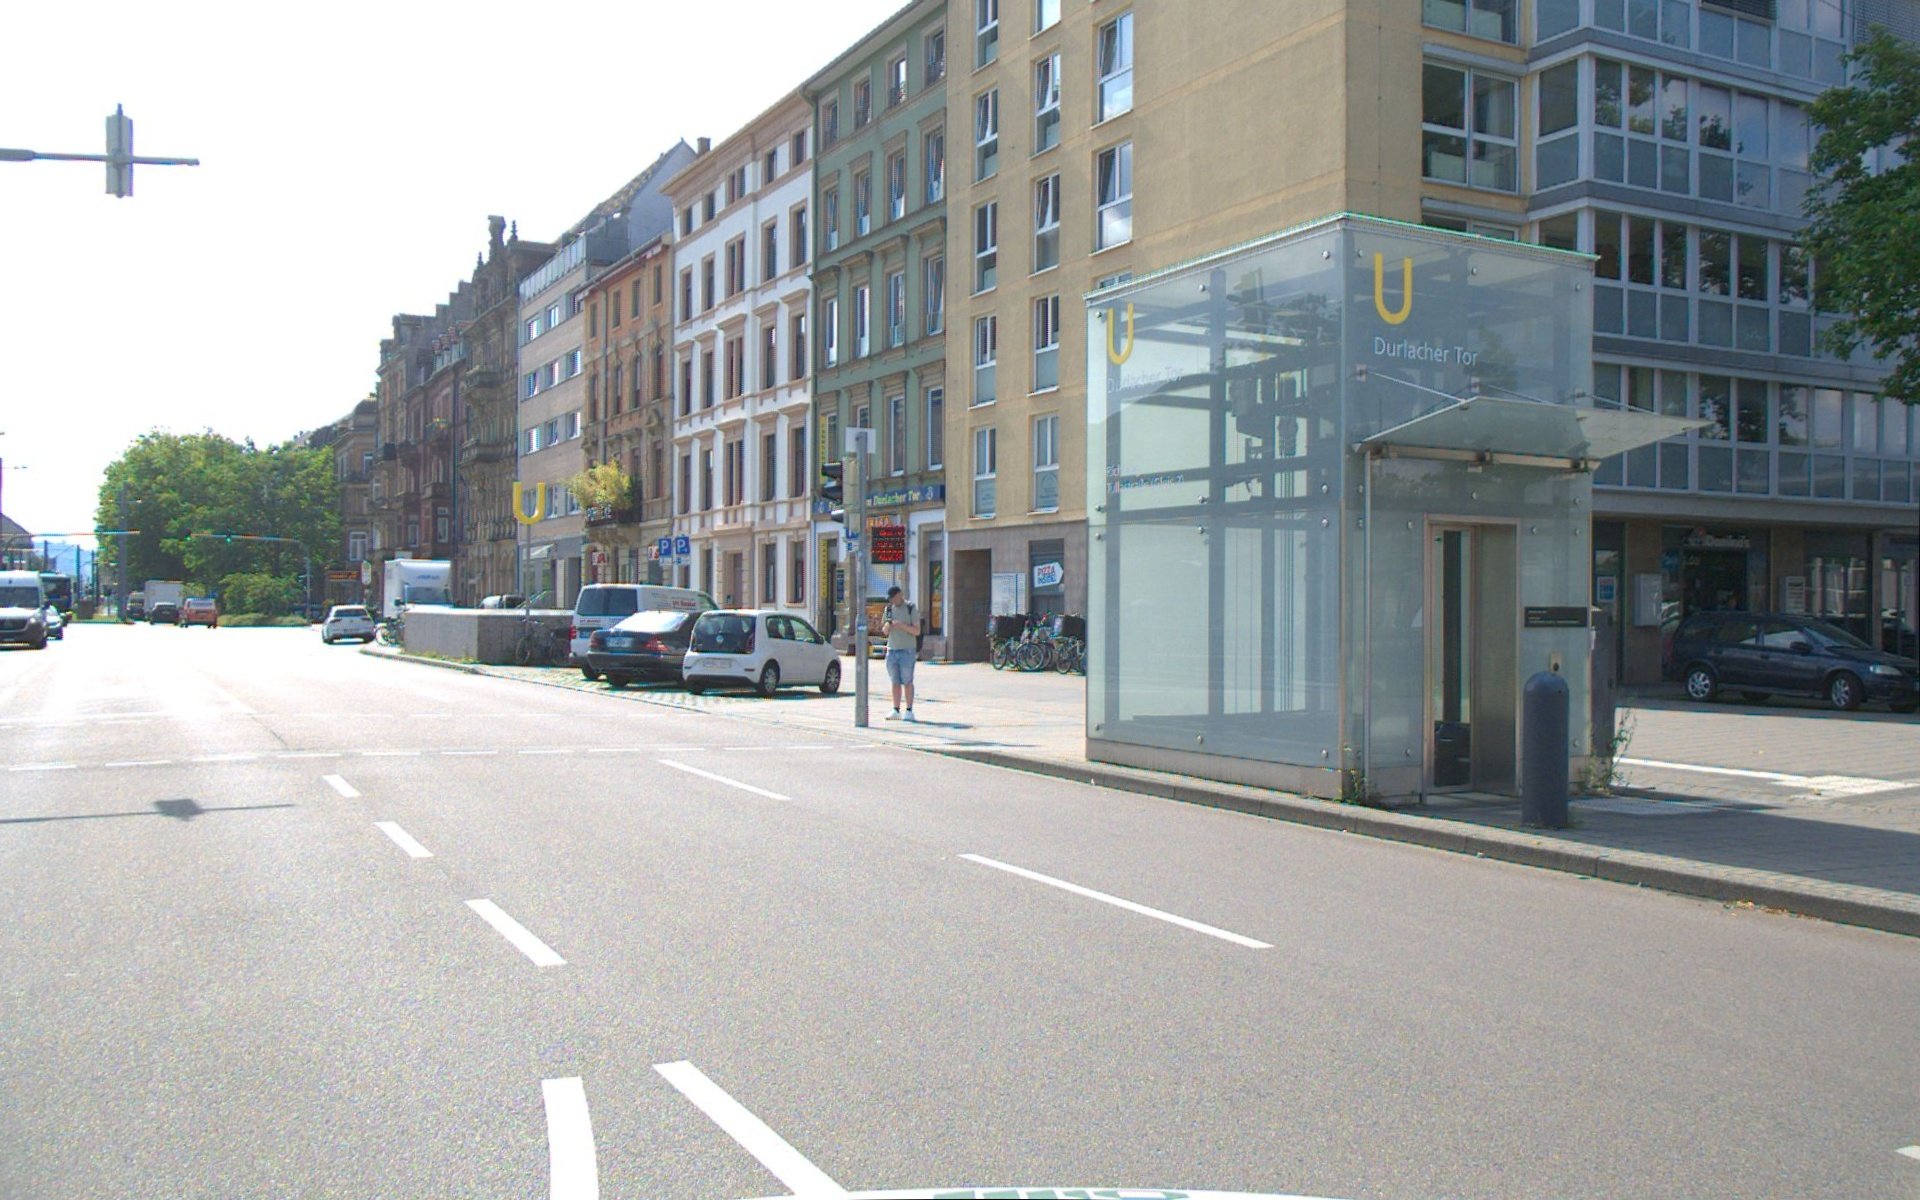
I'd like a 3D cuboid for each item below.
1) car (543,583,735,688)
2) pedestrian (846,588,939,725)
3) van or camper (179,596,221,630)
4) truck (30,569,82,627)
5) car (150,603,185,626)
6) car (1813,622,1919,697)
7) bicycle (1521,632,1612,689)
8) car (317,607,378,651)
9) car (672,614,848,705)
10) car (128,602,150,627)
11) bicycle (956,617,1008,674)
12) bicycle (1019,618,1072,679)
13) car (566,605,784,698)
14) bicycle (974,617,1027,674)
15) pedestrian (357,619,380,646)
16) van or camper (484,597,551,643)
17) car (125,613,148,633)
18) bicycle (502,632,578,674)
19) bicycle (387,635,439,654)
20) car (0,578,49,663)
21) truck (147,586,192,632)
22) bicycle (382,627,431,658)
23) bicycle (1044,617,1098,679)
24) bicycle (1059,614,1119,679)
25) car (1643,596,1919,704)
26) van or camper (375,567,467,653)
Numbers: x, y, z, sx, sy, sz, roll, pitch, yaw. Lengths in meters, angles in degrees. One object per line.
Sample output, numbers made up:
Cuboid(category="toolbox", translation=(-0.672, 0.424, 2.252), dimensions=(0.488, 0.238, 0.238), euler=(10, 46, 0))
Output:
Cuboid(category="car", translation=(-6.861, 0.711, 35.974), dimensions=(2.029, 2.121, 4.902), euler=(0, 0, 17))
Cuboid(category="pedestrian", translation=(-0.903, 0.753, 22.259), dimensions=(0.771, 1.790, 0.991), euler=(-3, -2, 38))
Cuboid(category="van or camper", translation=(-48.758, 0.857, 106.077), dimensions=(1.989, 1.948, 4.474), euler=(1, -3, -31))
Cuboid(category="truck", translation=(-60.162, -0.112, 109.994), dimensions=(2.441, 3.712, 7.362), euler=(0, 0, -34))
Cuboid(category="car", translation=(-55.085, 0.992, 114.940), dimensions=(1.972, 1.534, 3.961), euler=(0, 0, -29))
Cuboid(category="car", translation=(18.028, 1.095, 30.451), dimensions=(1.563, 1.350, 3.962), euler=(1, -3, -28))
Cuboid(category="bicycle", translation=(11.373, 1.129, 31.001), dimensions=(1.757, 1.038, 0.674), euler=(1, -2, -32))
Cuboid(category="car", translation=(-24.336, 1.132, 65.637), dimensions=(1.769, 1.461, 4.308), euler=(-5, 3, -25))
Cuboid(category="car", translation=(-3.528, 1.015, 29.745), dimensions=(1.679, 1.465, 3.512), euler=(1, 1, 21))
Cuboid(category="car", translation=(-76.849, 1.354, 154.818), dimensions=(1.750, 2.274, 3.964), euler=(0, -2, -27))
Cuboid(category="bicycle", translation=(0.493, 1.037, 38.044), dimensions=(0.480, 1.222, 1.631), euler=(-1, 2, -27))
Cuboid(category="bicycle", translation=(1.828, 1.026, 35.700), dimensions=(0.479, 1.222, 1.634), euler=(-1, 2, -23))
Cuboid(category="car", translation=(-5.373, 0.922, 31.935), dimensions=(1.846, 1.494, 5.066), euler=(0, 2, 20))
Cuboid(category="bicycle", translation=(0.933, 1.045, 38.318), dimensions=(0.480, 1.222, 1.631), euler=(-1, 2, -27))
Cuboid(category="pedestrian", translation=(-29.978, 1.664, 83.841), dimensions=(0.802, 1.339, 0.744), euler=(1, 0, 24))
Cuboid(category="van or camper", translation=(-21.704, 0.927, 80.988), dimensions=(1.971, 1.937, 5.251), euler=(-4, 3, -27))
Cuboid(category="car", translation=(-71.541, 2.011, 143.730), dimensions=(1.750, 1.691, 3.964), euler=(0, -2, -27))
Cuboid(category="bicycle", translation=(-10.465, 1.322, 41.279), dimensions=(1.757, 1.021, 0.507), euler=(1, 0, -34))
Cuboid(category="bicycle", translation=(-19.183, 1.565, 58.050), dimensions=(1.729, 0.596, 0.638), euler=(0, 2, 22))
Cuboid(category="car", translation=(-32.401, 0.651, 56.521), dimensions=(1.971, 2.667, 5.530), euler=(-3, 3, -28))
Cuboid(category="truck", translation=(-62.990, 0.742, 131.749), dimensions=(3.132, 3.344, 7.232), euler=(0, -3, -27))
Cuboid(category="bicycle", translation=(-20.785, 1.597, 62.168), dimensions=(1.747, 1.103, 0.367), euler=(-1, 3, -40))
Cuboid(category="bicycle", translation=(2.382, 1.024, 35.767), dimensions=(0.479, 1.222, 1.634), euler=(-1, 2, -23))
Cuboid(category="bicycle", translation=(2.633, 0.943, 33.974), dimensions=(0.540, 1.222, 1.634), euler=(-1, 2, -23))
Cuboid(category="car", translation=(13.668, 0.781, 27.070), dimensions=(1.971, 1.613, 4.350), euler=(1, -1, -29))
Cuboid(category="van or camper", translation=(-22.918, 0.317, 70.112), dimensions=(2.679, 3.388, 7.576), euler=(-2, 2, -26))
